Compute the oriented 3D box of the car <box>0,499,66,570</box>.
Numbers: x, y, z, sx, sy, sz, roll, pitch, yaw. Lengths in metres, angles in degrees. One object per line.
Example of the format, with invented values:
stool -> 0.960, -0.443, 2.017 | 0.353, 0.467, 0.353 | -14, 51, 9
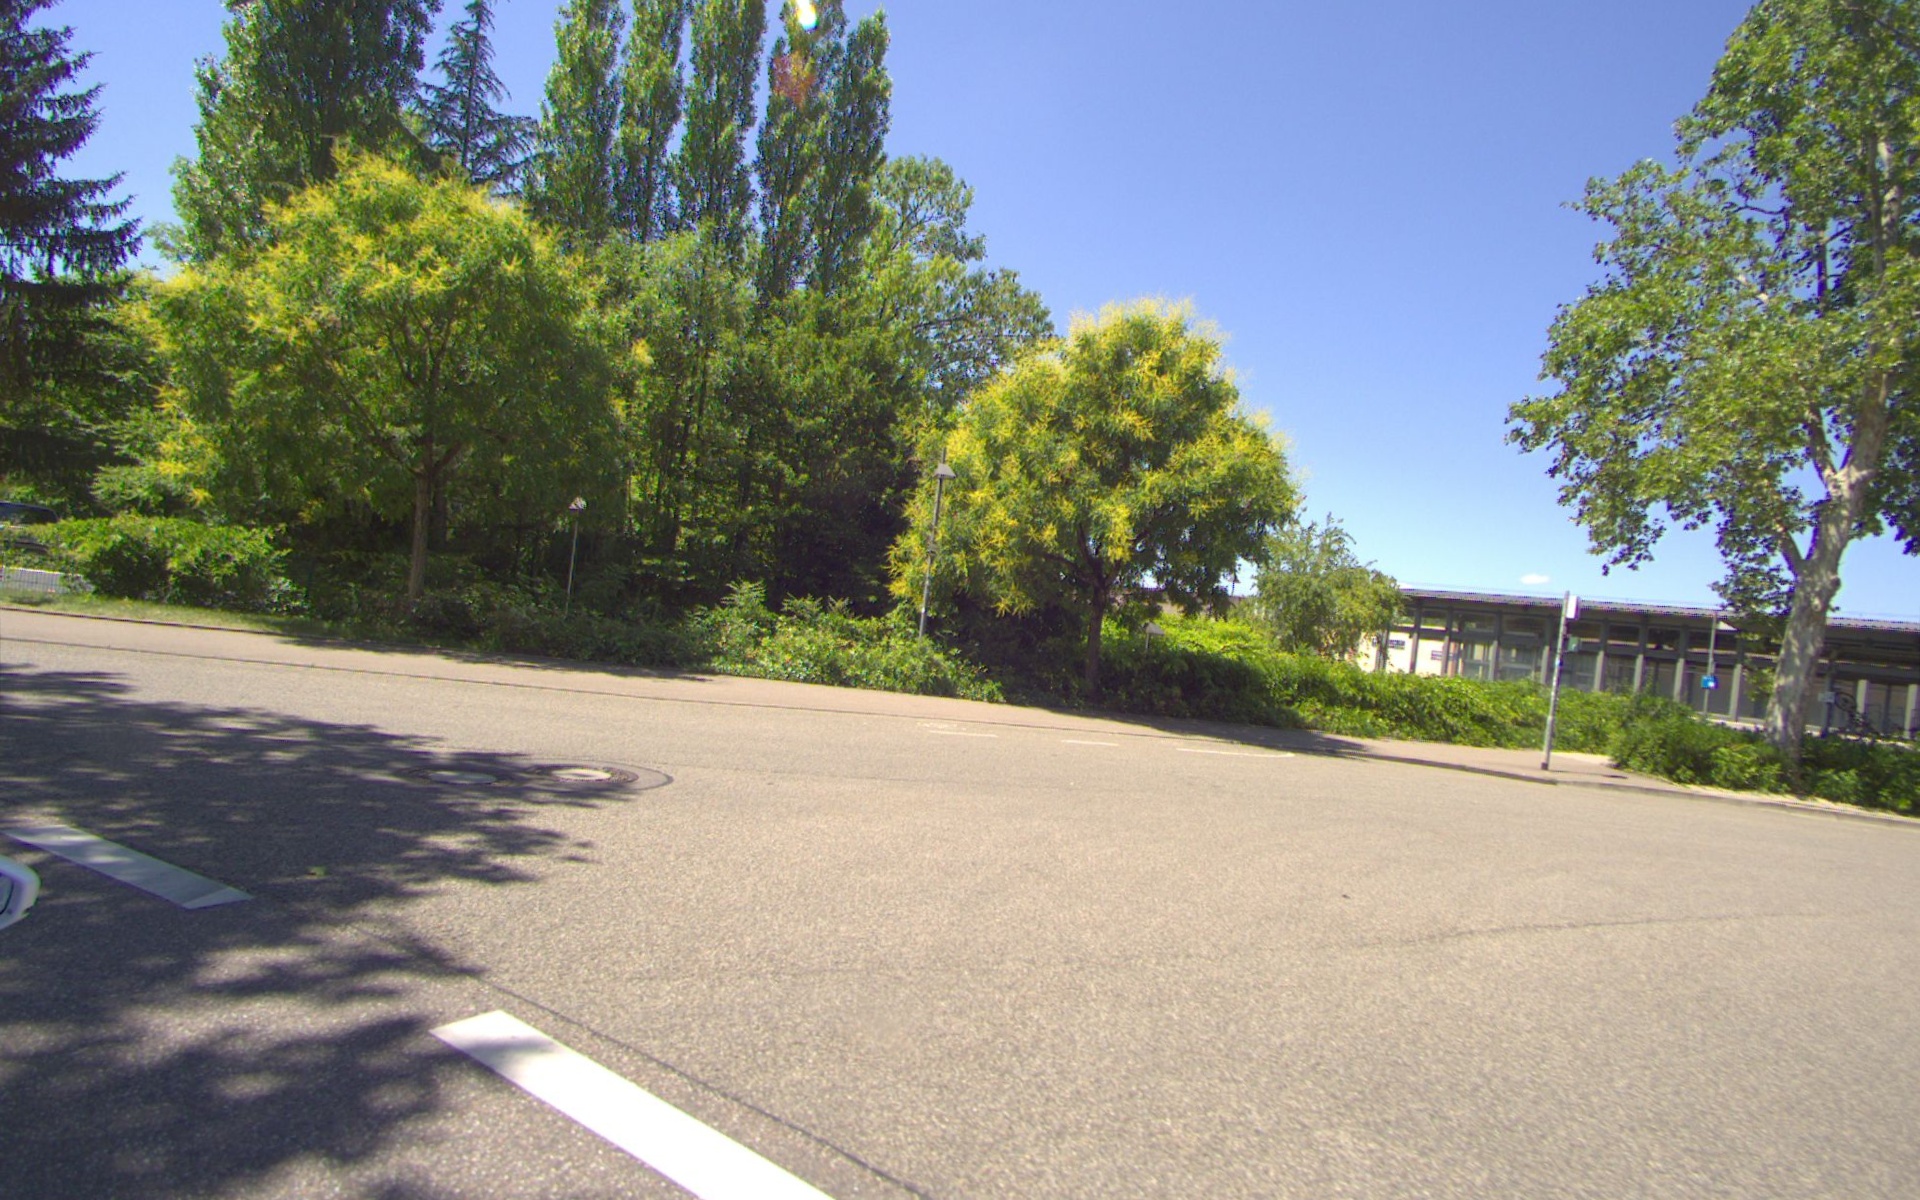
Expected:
car -> -24.280, -1.733, 25.783 | 3.918, 1.554, 1.647 | 6, -2, 44
